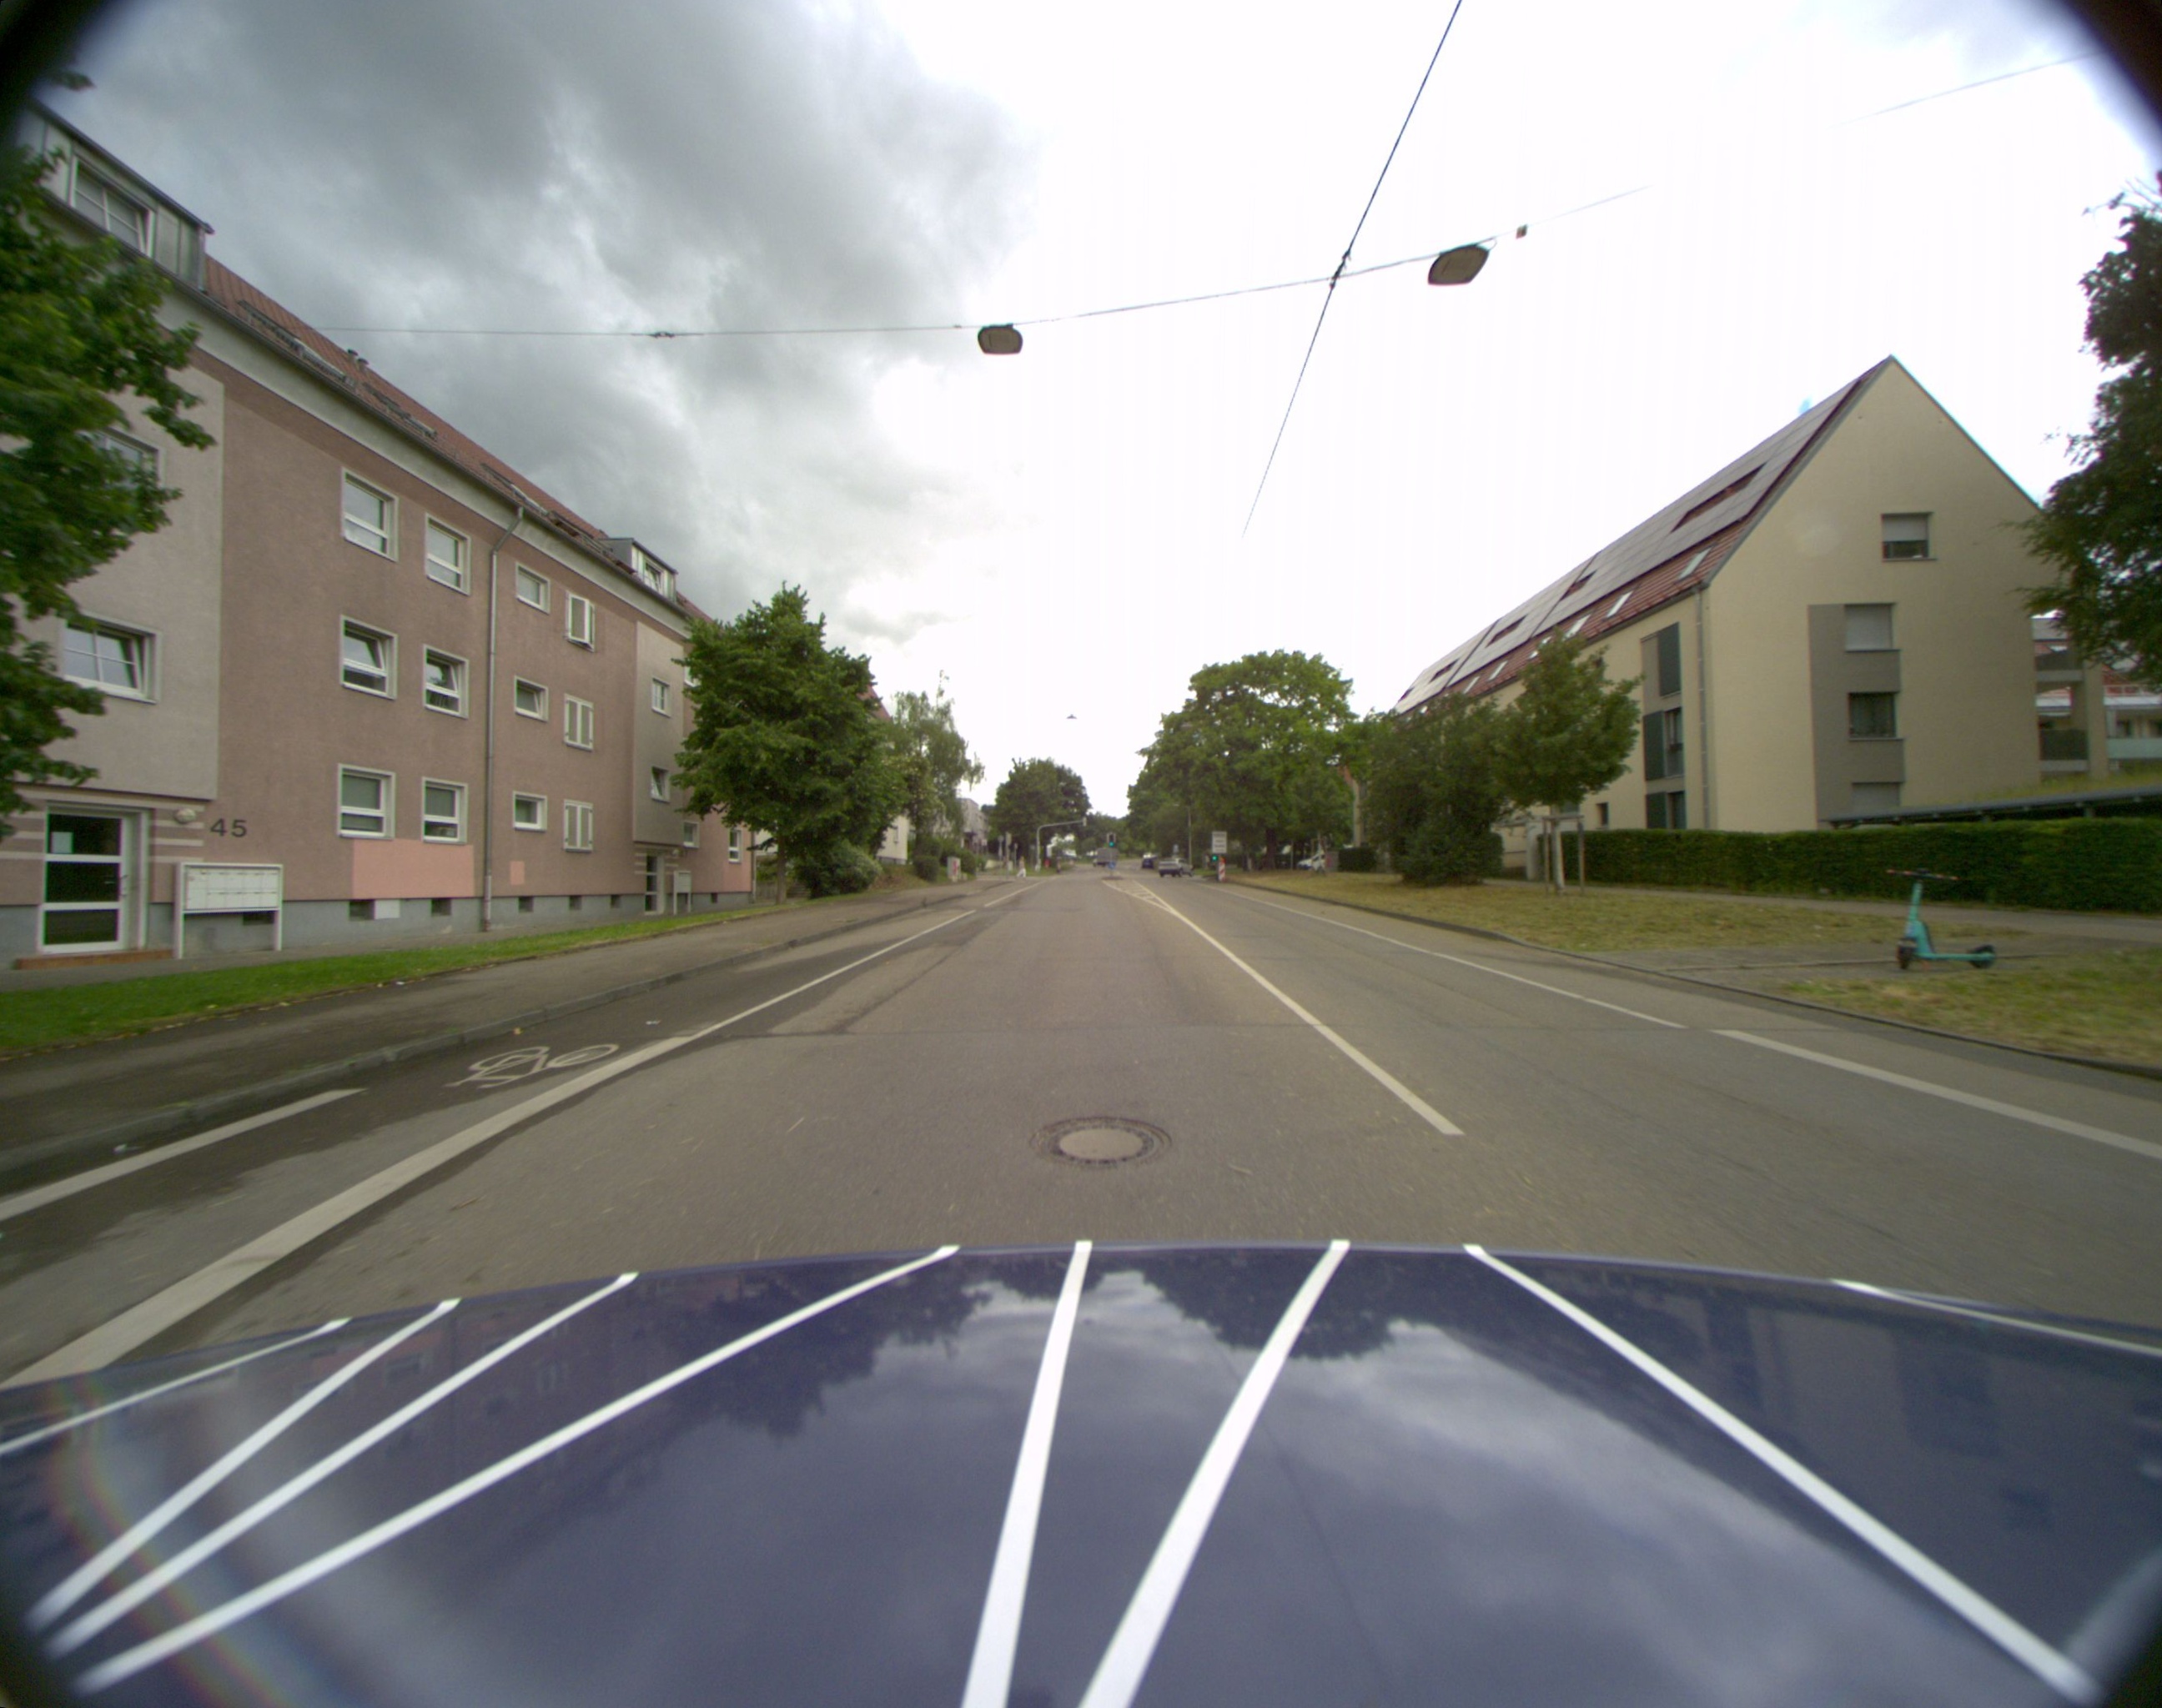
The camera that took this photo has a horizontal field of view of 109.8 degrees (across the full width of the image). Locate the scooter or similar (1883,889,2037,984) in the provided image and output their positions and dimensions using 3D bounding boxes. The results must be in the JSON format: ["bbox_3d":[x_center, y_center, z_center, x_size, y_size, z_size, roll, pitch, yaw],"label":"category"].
[{"bbox_3d":[10.605,0.980,9.180,1.374,1.080,0.466,0,1,-3],"label":"scooter or similar"}]

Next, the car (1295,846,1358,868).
[{"bbox_3d":[22.686,0.267,70.257,5.152,1.906,2.000,-1,1,2],"label":"car"}]

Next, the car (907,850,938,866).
[{"bbox_3d":[-15.631,0.368,75.171,1.999,1.455,4.611,-1,0,0],"label":"car"}]

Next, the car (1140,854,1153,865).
[{"bbox_3d":[10.655,0.873,123.275,1.997,1.674,4.002,-1,0,7],"label":"car"}]

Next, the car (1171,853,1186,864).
[{"bbox_3d":[14.386,0.627,111.853,1.860,1.596,4.000,-2,0,3],"label":"car"}]

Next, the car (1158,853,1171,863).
[{"bbox_3d":[12.395,0.594,113.090,1.604,1.346,4.000,-1,0,3],"label":"car"}]

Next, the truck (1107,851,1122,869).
[{"bbox_3d":[5.806,1.009,133.819,2.371,3.218,7.216,0,0,1],"label":"truck"}]

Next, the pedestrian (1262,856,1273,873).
[{"bbox_3d":[19.267,1.119,78.549,0.778,1.746,0.688,-2,1,-30],"label":"pedestrian"}]

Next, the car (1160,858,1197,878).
[{"bbox_3d":[7.831,1.087,60.828,1.803,1.455,4.036,1,0,24],"label":"car"}]

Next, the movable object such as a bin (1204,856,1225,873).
[{"bbox_3d":[14.857,1.147,84.808,1.099,1.892,3.246,-2,0,-13],"label":"movable object such as a bin"}]

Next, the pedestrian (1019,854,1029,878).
[{"bbox_3d":[-4.114,0.855,54.969,0.658,1.675,0.575,1,-1,2],"label":"pedestrian"}]
